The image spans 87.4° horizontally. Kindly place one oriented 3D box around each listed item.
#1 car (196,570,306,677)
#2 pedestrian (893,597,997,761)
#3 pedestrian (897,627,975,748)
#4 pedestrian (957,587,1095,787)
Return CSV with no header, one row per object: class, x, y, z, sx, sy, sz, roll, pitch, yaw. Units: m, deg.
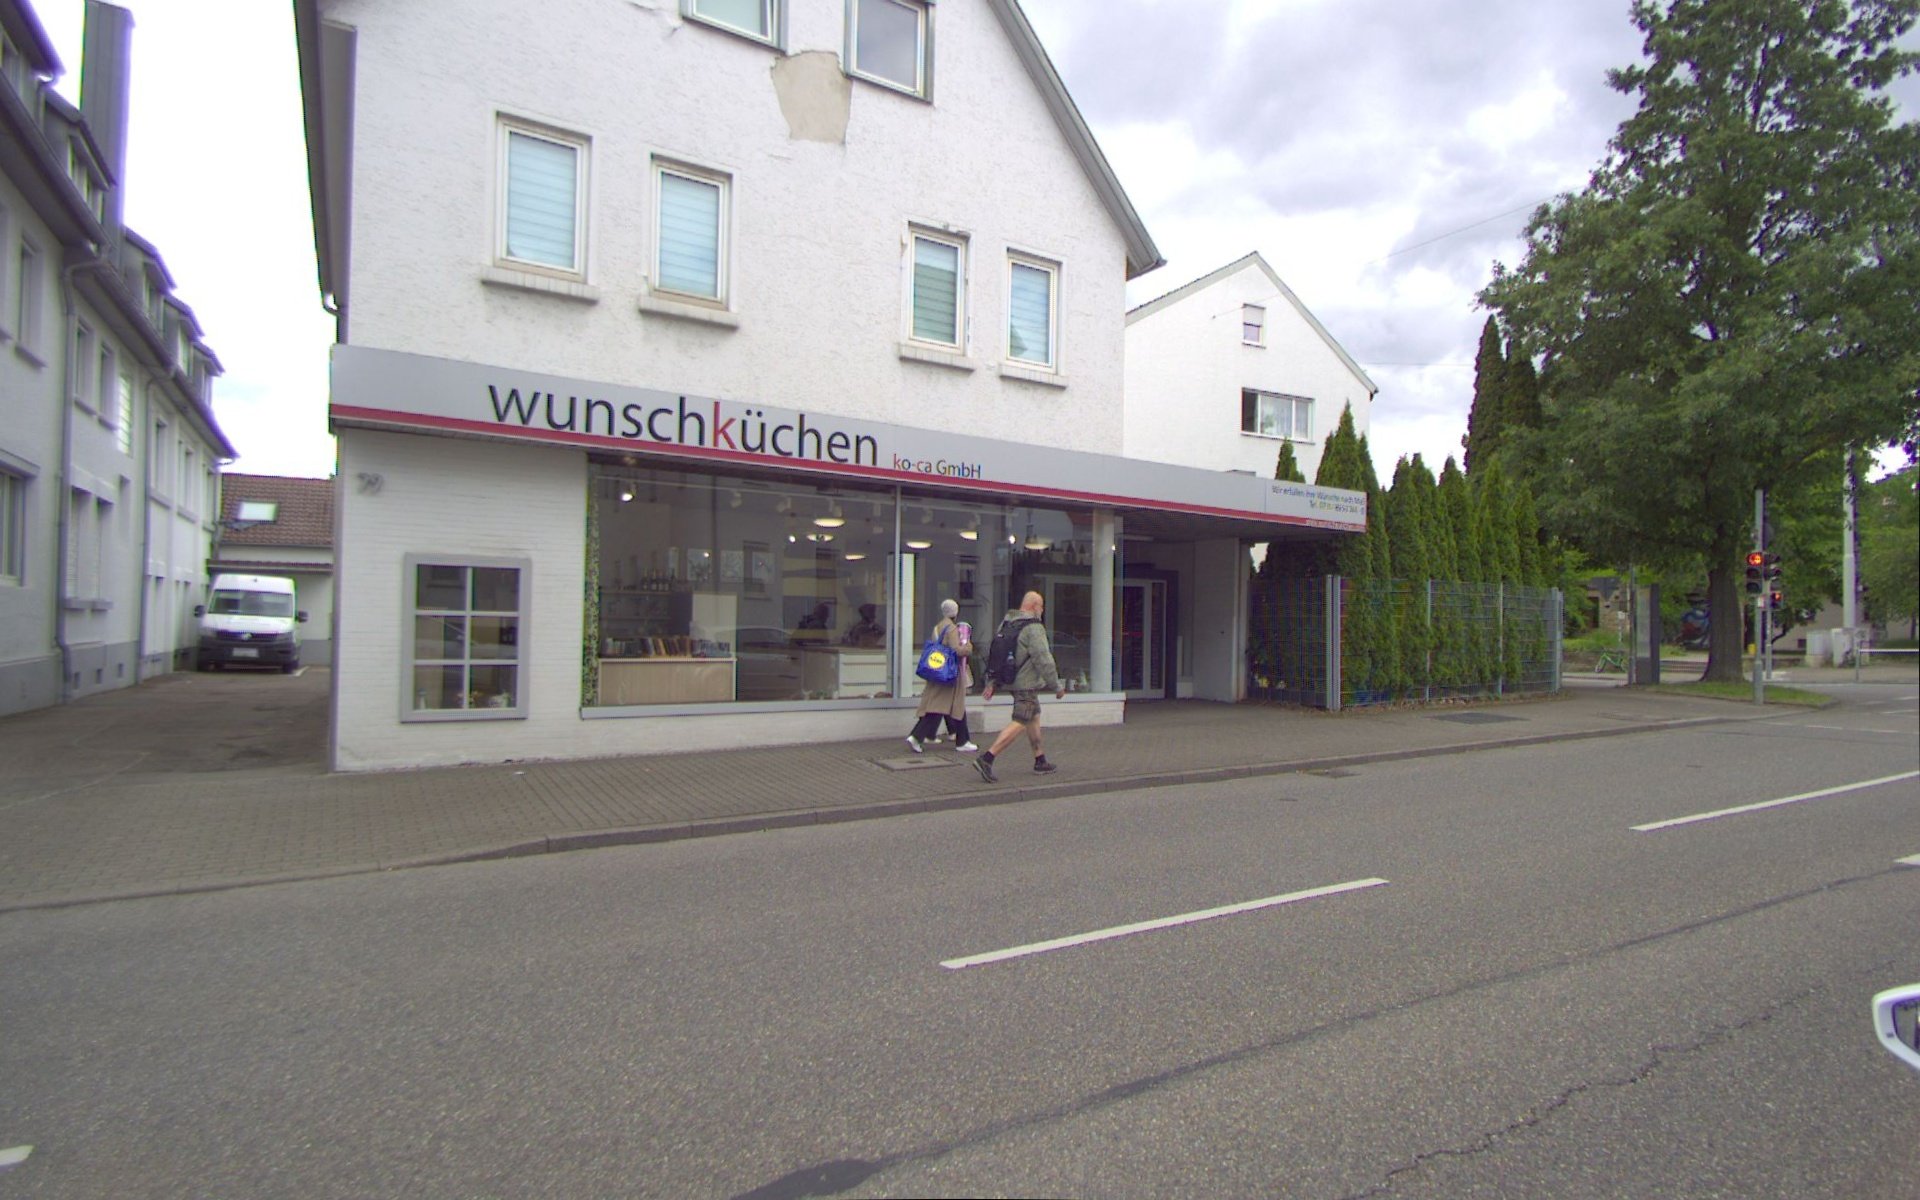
car,-19.072,0.588,27.260,1.938,2.541,5.943,4,-2,-32
pedestrian,-0.168,0.810,10.691,0.784,1.638,0.747,1,2,-31
pedestrian,-0.279,0.974,11.407,0.647,1.297,0.596,1,1,-31
pedestrian,0.617,0.784,9.502,1.008,1.767,0.747,1,1,-31
